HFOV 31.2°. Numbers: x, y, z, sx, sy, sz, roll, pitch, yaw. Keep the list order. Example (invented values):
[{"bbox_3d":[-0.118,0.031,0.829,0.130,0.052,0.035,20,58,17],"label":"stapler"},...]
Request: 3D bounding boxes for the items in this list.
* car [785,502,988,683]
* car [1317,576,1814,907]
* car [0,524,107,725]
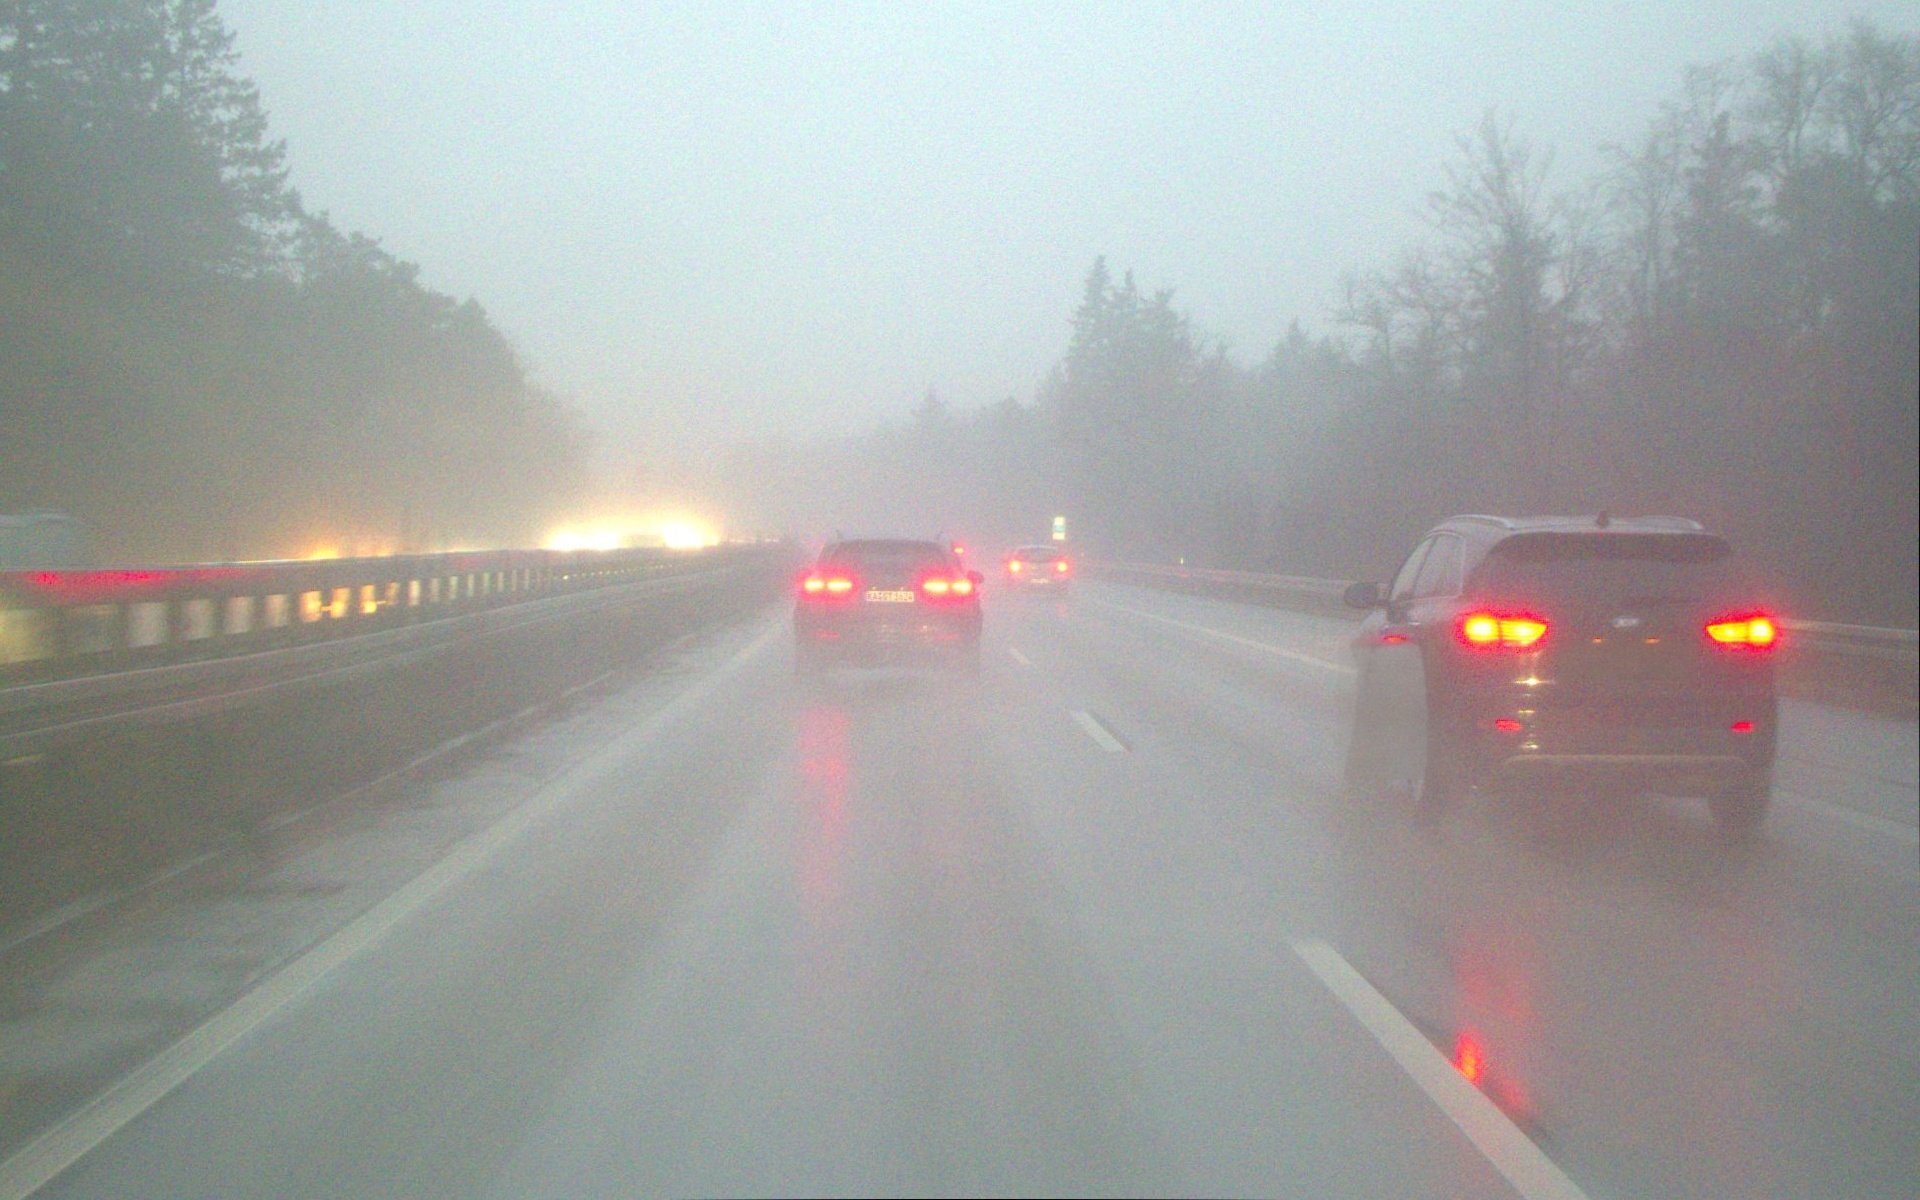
[{"bbox_3d":[-0.710,-0.109,35.916,1.986,1.761,4.173,-1,1,0],"label":"car"},{"bbox_3d":[3.436,0.734,20.427,2.070,1.692,4.461,1,1,-1],"label":"car"},{"bbox_3d":[-8.391,0.152,28.355,1.809,1.562,4.000,1,1,-2],"label":"car"}]
